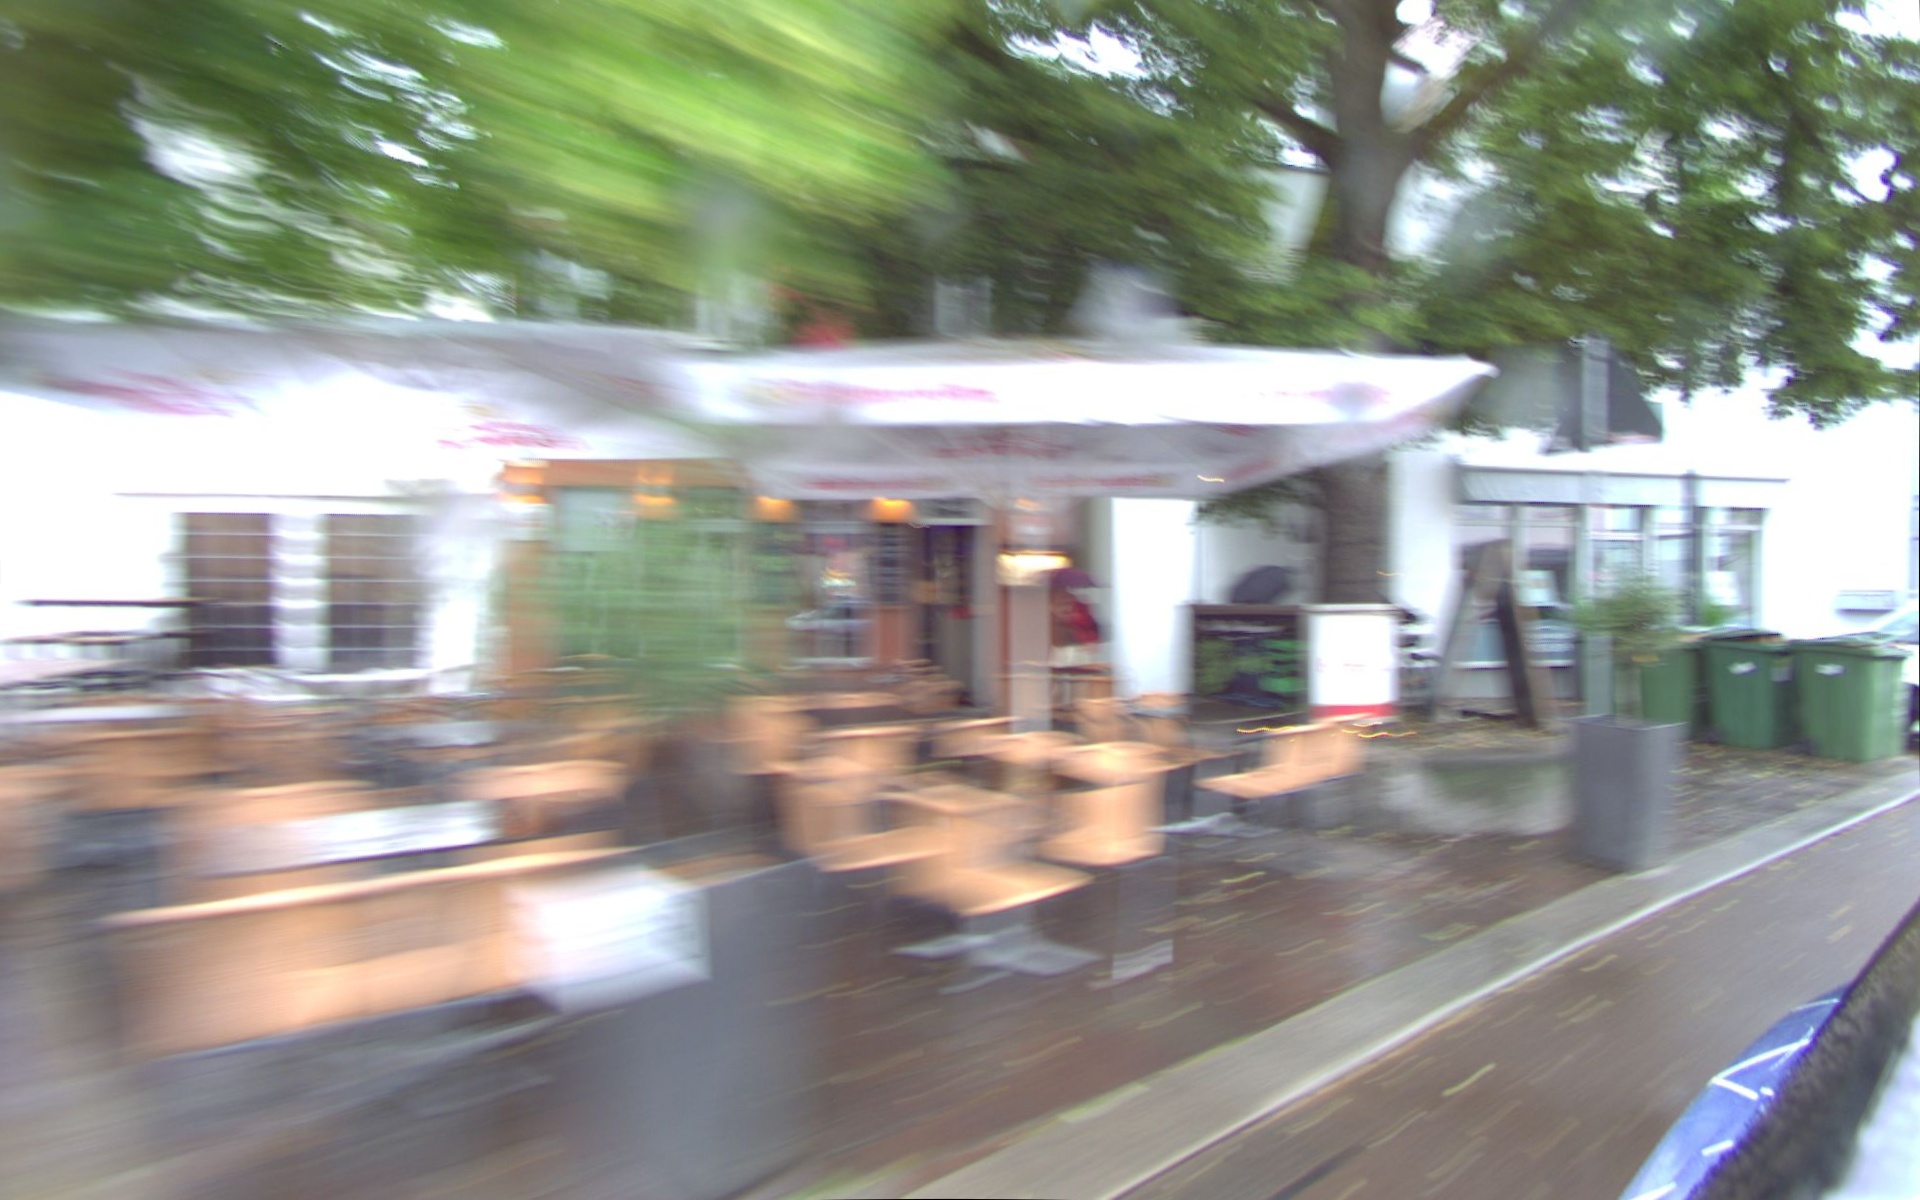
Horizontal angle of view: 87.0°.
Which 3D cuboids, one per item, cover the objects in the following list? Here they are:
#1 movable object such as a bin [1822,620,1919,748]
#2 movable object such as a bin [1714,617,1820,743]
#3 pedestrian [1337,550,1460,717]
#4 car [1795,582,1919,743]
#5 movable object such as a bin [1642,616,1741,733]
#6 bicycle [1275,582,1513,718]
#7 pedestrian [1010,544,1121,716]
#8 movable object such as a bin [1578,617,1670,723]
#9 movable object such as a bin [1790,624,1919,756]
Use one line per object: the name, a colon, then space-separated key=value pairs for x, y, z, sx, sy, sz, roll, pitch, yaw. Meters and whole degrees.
movable object such as a bin: x=8.649 y=0.759 z=9.472 sx=0.599 sy=1.106 sz=0.728 roll=-2 pitch=0 yaw=-33
movable object such as a bin: x=7.869 y=0.752 z=9.876 sx=0.713 sy=1.157 sz=0.540 roll=1 pitch=1 yaw=-27
pedestrian: x=4.701 y=0.327 z=10.912 sx=0.844 sy=1.719 sz=0.915 roll=-1 pitch=2 yaw=-9
car: x=11.132 y=0.608 z=10.881 sx=3.867 sy=1.575 sz=1.797 roll=0 pitch=1 yaw=-24
movable object such as a bin: x=7.573 y=0.750 z=10.484 sx=0.713 sy=1.145 sz=0.540 roll=1 pitch=1 yaw=-27
bicycle: x=4.651 y=0.507 z=10.938 sx=2.170 sy=1.367 sz=0.929 roll=0 pitch=2 yaw=-9
pedestrian: x=1.111 y=0.298 z=10.840 sx=0.871 sy=1.735 sz=0.889 roll=-2 pitch=0 yaw=-16
movable object such as a bin: x=7.289 y=0.749 z=11.116 sx=0.713 sy=1.096 sz=0.540 roll=1 pitch=1 yaw=-27
movable object such as a bin: x=8.071 y=0.780 z=9.142 sx=0.593 sy=1.096 sz=0.728 roll=-2 pitch=0 yaw=-33
